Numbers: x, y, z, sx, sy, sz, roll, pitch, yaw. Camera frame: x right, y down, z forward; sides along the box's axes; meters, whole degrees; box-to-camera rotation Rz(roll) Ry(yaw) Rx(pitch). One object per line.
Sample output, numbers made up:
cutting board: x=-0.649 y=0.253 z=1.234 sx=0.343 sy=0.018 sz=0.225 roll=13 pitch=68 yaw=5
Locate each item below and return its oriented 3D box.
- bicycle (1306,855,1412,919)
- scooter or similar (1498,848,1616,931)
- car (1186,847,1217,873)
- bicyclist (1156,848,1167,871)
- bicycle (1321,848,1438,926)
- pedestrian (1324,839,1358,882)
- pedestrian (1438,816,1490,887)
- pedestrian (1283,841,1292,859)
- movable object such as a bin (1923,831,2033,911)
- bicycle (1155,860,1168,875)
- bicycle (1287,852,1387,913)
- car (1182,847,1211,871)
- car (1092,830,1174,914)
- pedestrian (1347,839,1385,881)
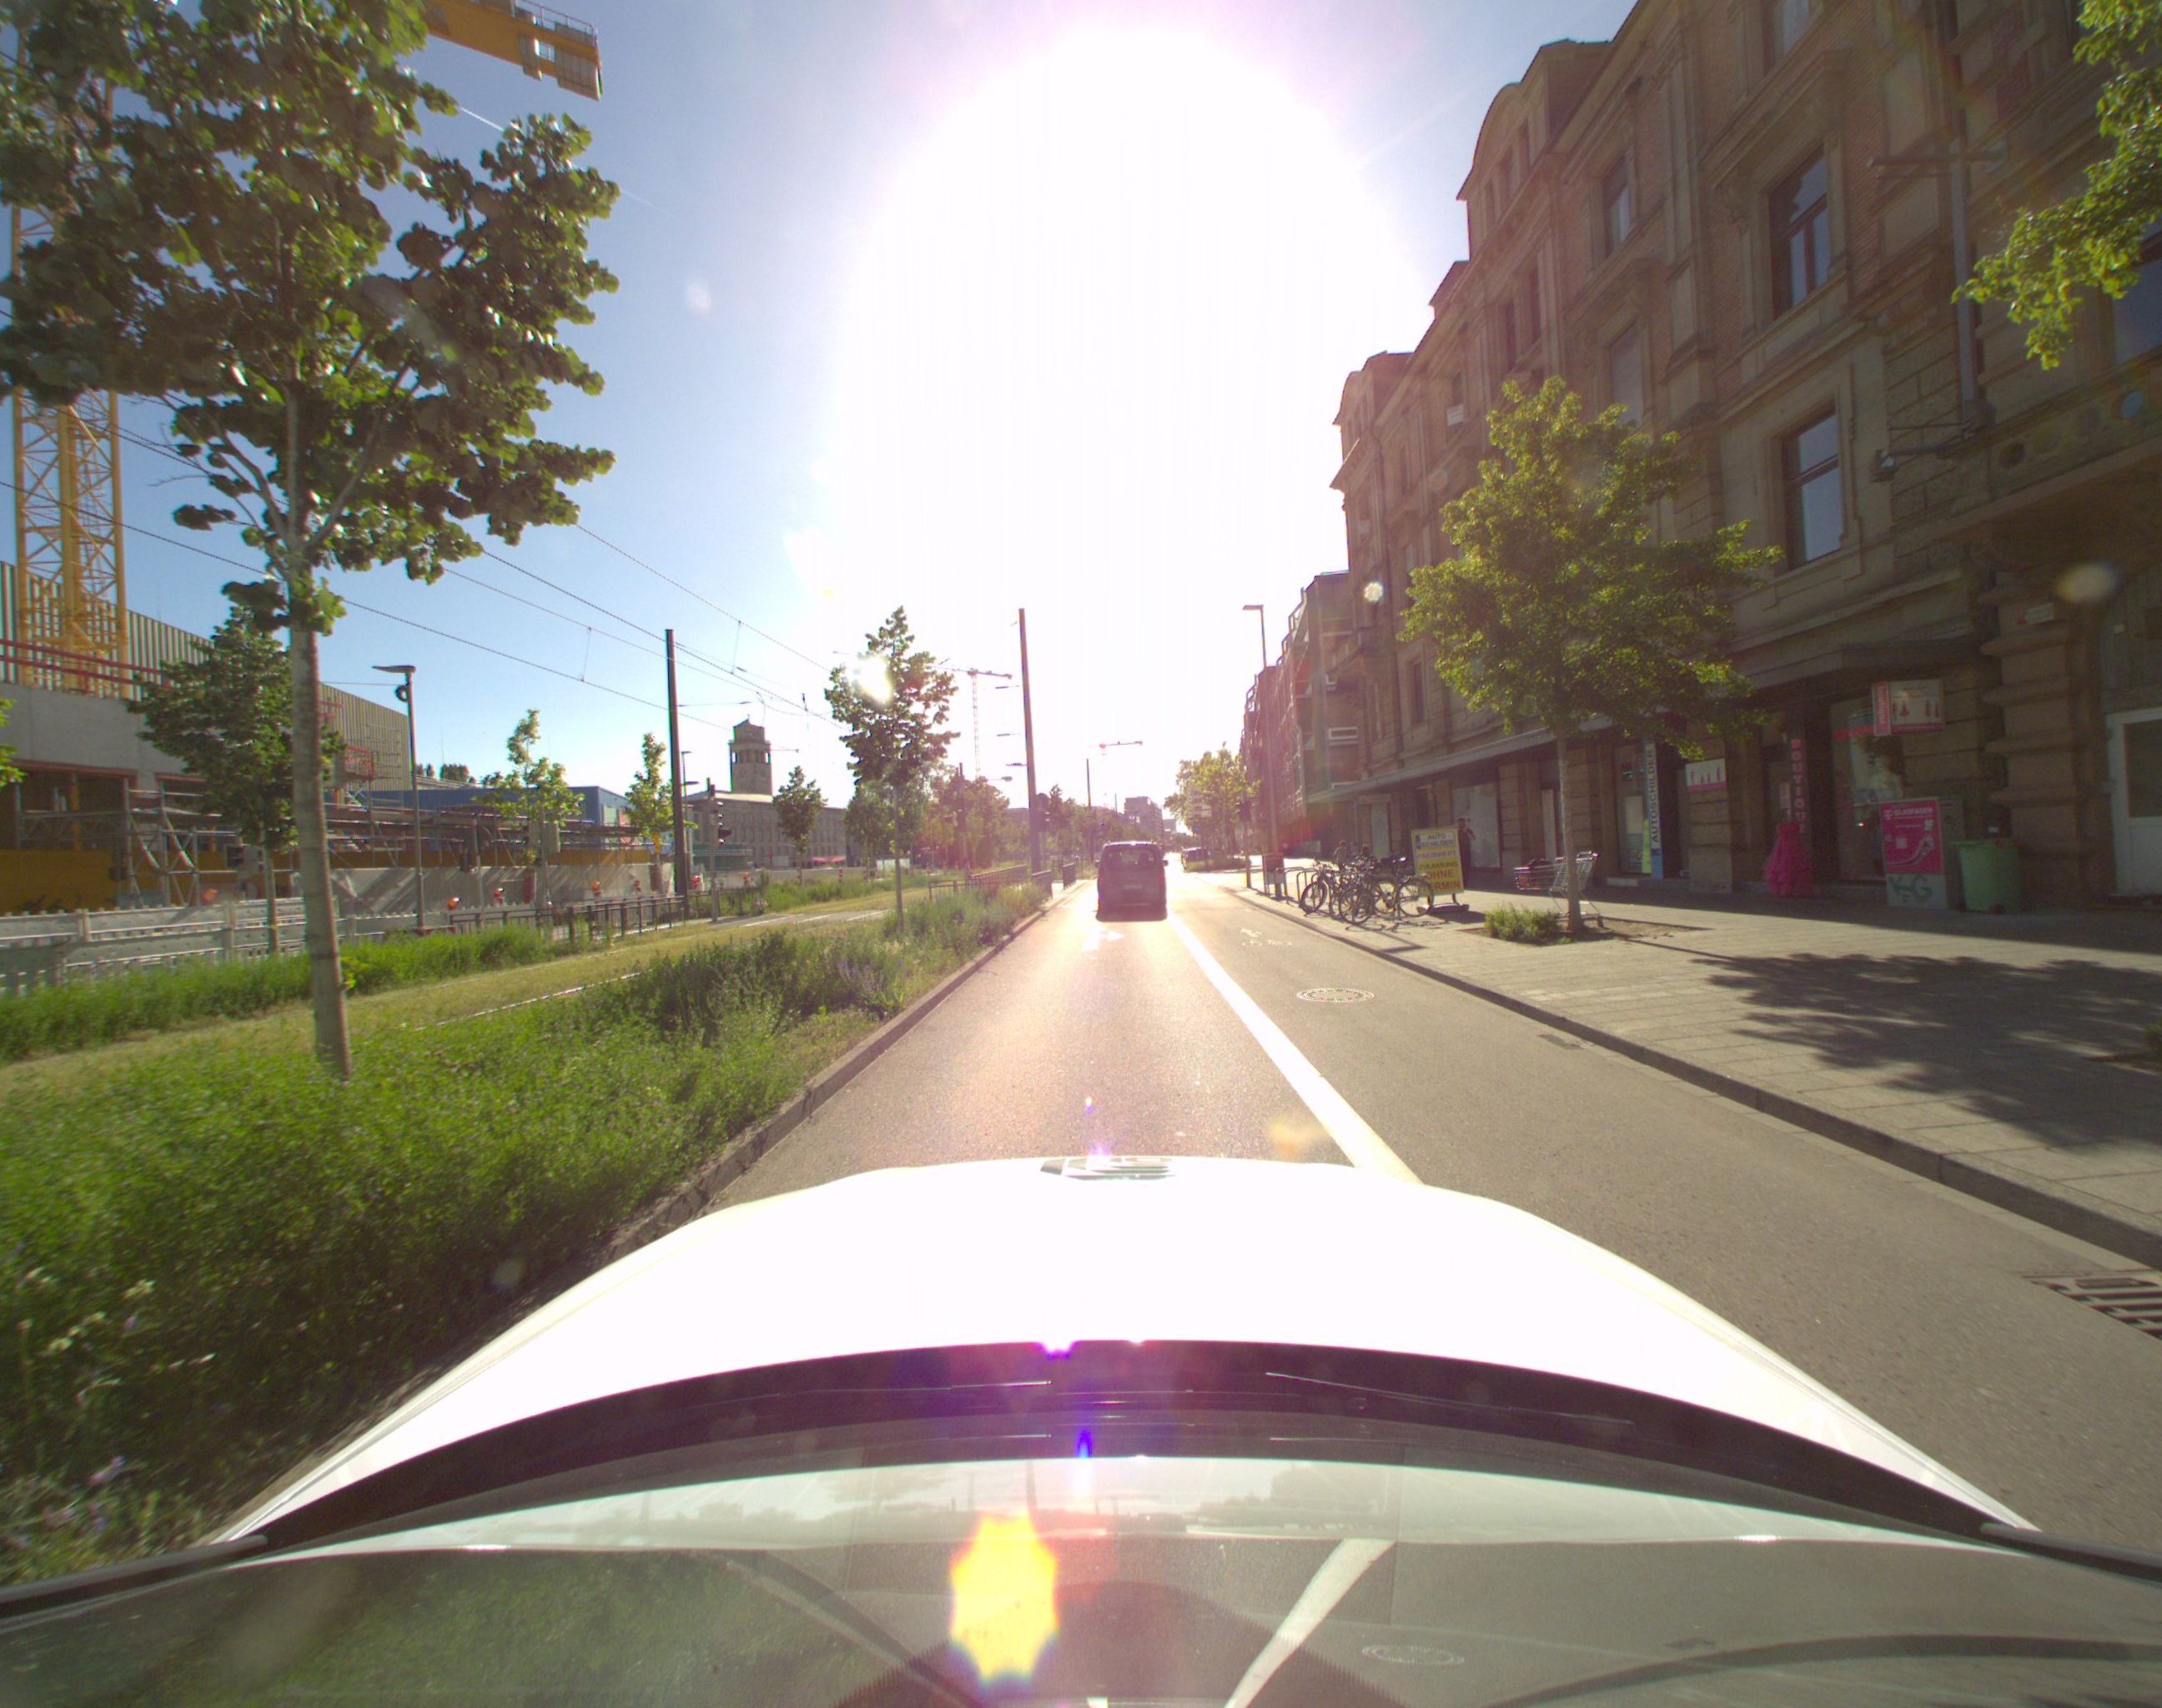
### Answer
bicycle: x=5.574 y=0.644 z=16.369 sx=1.822 sy=1.078 sz=0.663 roll=-6 pitch=-1 yaw=-6
scooter or similar: x=6.970 y=0.505 z=11.980 sx=1.215 sy=1.106 sz=0.783 roll=-4 pitch=0 yaw=3
car: x=8.392 y=0.432 z=57.008 sx=1.978 sy=1.638 sz=4.196 roll=-2 pitch=-1 yaw=6
bicyclist: x=5.811 y=0.408 z=58.754 sx=0.680 sy=1.584 sz=0.839 roll=-2 pitch=0 yaw=0
bicycle: x=5.421 y=0.592 z=14.835 sx=1.876 sy=1.233 sz=0.499 roll=-5 pitch=-1 yaw=-6
pedestrian: x=8.698 y=0.210 z=27.294 sx=0.700 sy=1.336 sz=1.011 roll=-7 pitch=-1 yaw=2
pedestrian: x=9.897 y=-0.064 z=21.069 sx=0.841 sy=1.742 sz=0.887 roll=-4 pitch=-1 yaw=1
pedestrian: x=19.654 y=-0.386 z=77.637 sx=0.695 sy=1.652 sz=0.726 roll=-3 pitch=0 yaw=9
movable object such as a bin: x=10.881 y=0.200 z=9.897 sx=0.603 sy=0.916 sz=0.649 roll=-3 pitch=0 yaw=-4
bicycle: x=5.826 y=0.963 z=58.783 sx=0.699 sy=1.091 sz=2.277 roll=-3 pitch=0 yaw=0
bicycle: x=5.610 y=0.622 z=17.886 sx=1.913 sy=1.121 sz=0.663 roll=-6 pitch=-1 yaw=-6
car: x=8.930 y=0.399 z=63.324 sx=2.011 sy=1.722 sz=4.125 roll=-2 pitch=-1 yaw=6
car: x=1.313 y=0.439 z=22.108 sx=1.987 sy=2.013 sz=4.000 roll=-2 pitch=0 yaw=1
pedestrian: x=9.504 y=0.189 z=27.203 sx=0.829 sy=1.287 sz=1.008 roll=-6 pitch=0 yaw=2
